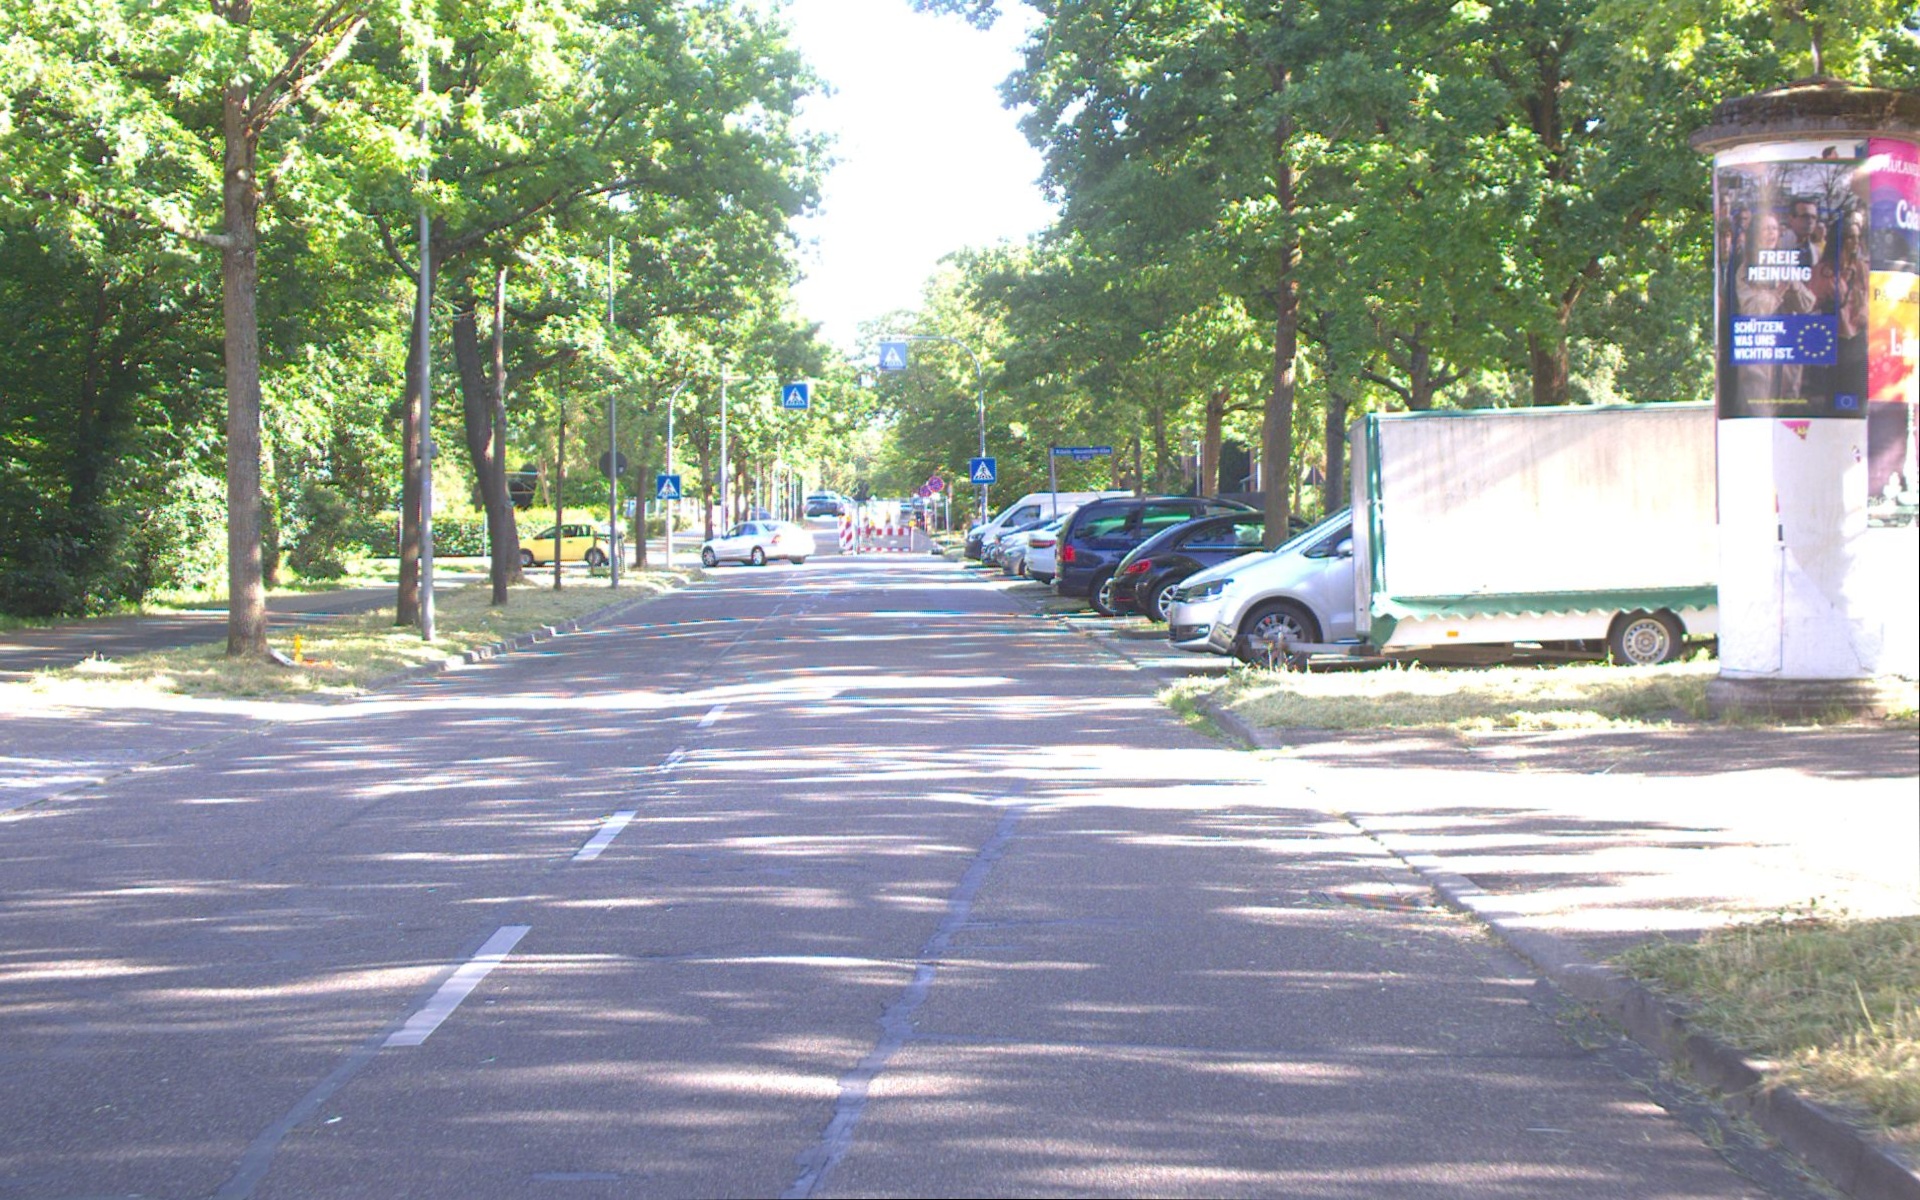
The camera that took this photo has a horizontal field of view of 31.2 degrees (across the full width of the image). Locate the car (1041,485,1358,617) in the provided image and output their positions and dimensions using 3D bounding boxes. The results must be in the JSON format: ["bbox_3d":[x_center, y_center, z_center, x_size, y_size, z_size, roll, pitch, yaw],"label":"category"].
[{"bbox_3d":[3.547,-0.747,51.494,4.529,1.795,1.936,-2,1,-1],"label":"car"}]

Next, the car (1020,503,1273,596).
[{"bbox_3d":[3.529,-0.974,65.727,4.670,1.575,1.917,-2,2,0],"label":"car"}]

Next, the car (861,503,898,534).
[{"bbox_3d":[-4.483,-4.539,191.283,1.993,1.710,4.001,0,2,-2],"label":"car"}]

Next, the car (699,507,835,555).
[{"bbox_3d":[-6.125,-2.183,109.027,3.996,1.479,1.996,0,1,38],"label":"car"}]

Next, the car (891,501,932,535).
[{"bbox_3d":[-2.486,-4.182,175.559,1.993,1.710,4.001,0,2,-2],"label":"car"}]

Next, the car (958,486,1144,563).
[{"bbox_3d":[2.597,-2.173,98.872,5.186,2.098,2.083,-1,1,-2],"label":"car"}]

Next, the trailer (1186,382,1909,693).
[{"bbox_3d":[4.898,-0.534,29.181,5.775,2.309,1.686,-2,1,1],"label":"trailer"}]

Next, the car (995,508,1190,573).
[{"bbox_3d":[3.100,-1.410,80.973,4.445,1.385,1.911,-1,2,-1],"label":"car"}]

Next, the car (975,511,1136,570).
[{"bbox_3d":[2.558,-1.609,93.014,4.212,1.563,1.934,0,2,-3],"label":"car"}]

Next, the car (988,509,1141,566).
[{"bbox_3d":[2.739,-1.668,90.978,3.987,1.428,1.901,-1,2,1],"label":"car"}]

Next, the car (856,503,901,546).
[{"bbox_3d":[-3.686,-3.415,154.644,1.993,1.926,4.001,0,2,-2],"label":"car"}]

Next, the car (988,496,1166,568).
[{"bbox_3d":[3.000,-1.760,88.573,4.384,1.645,1.851,-2,2,-3],"label":"car"}]

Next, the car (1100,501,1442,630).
[{"bbox_3d":[4.011,-0.469,44.898,4.245,1.513,2.078,-2,1,0],"label":"car"}]

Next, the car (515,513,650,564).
[{"bbox_3d":[-12.454,-2.042,113.602,3.989,1.650,1.999,0,1,13],"label":"car"}]

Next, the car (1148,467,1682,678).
[{"bbox_3d":[4.155,-0.275,31.973,4.642,1.716,1.988,-2,1,0],"label":"car"}]
